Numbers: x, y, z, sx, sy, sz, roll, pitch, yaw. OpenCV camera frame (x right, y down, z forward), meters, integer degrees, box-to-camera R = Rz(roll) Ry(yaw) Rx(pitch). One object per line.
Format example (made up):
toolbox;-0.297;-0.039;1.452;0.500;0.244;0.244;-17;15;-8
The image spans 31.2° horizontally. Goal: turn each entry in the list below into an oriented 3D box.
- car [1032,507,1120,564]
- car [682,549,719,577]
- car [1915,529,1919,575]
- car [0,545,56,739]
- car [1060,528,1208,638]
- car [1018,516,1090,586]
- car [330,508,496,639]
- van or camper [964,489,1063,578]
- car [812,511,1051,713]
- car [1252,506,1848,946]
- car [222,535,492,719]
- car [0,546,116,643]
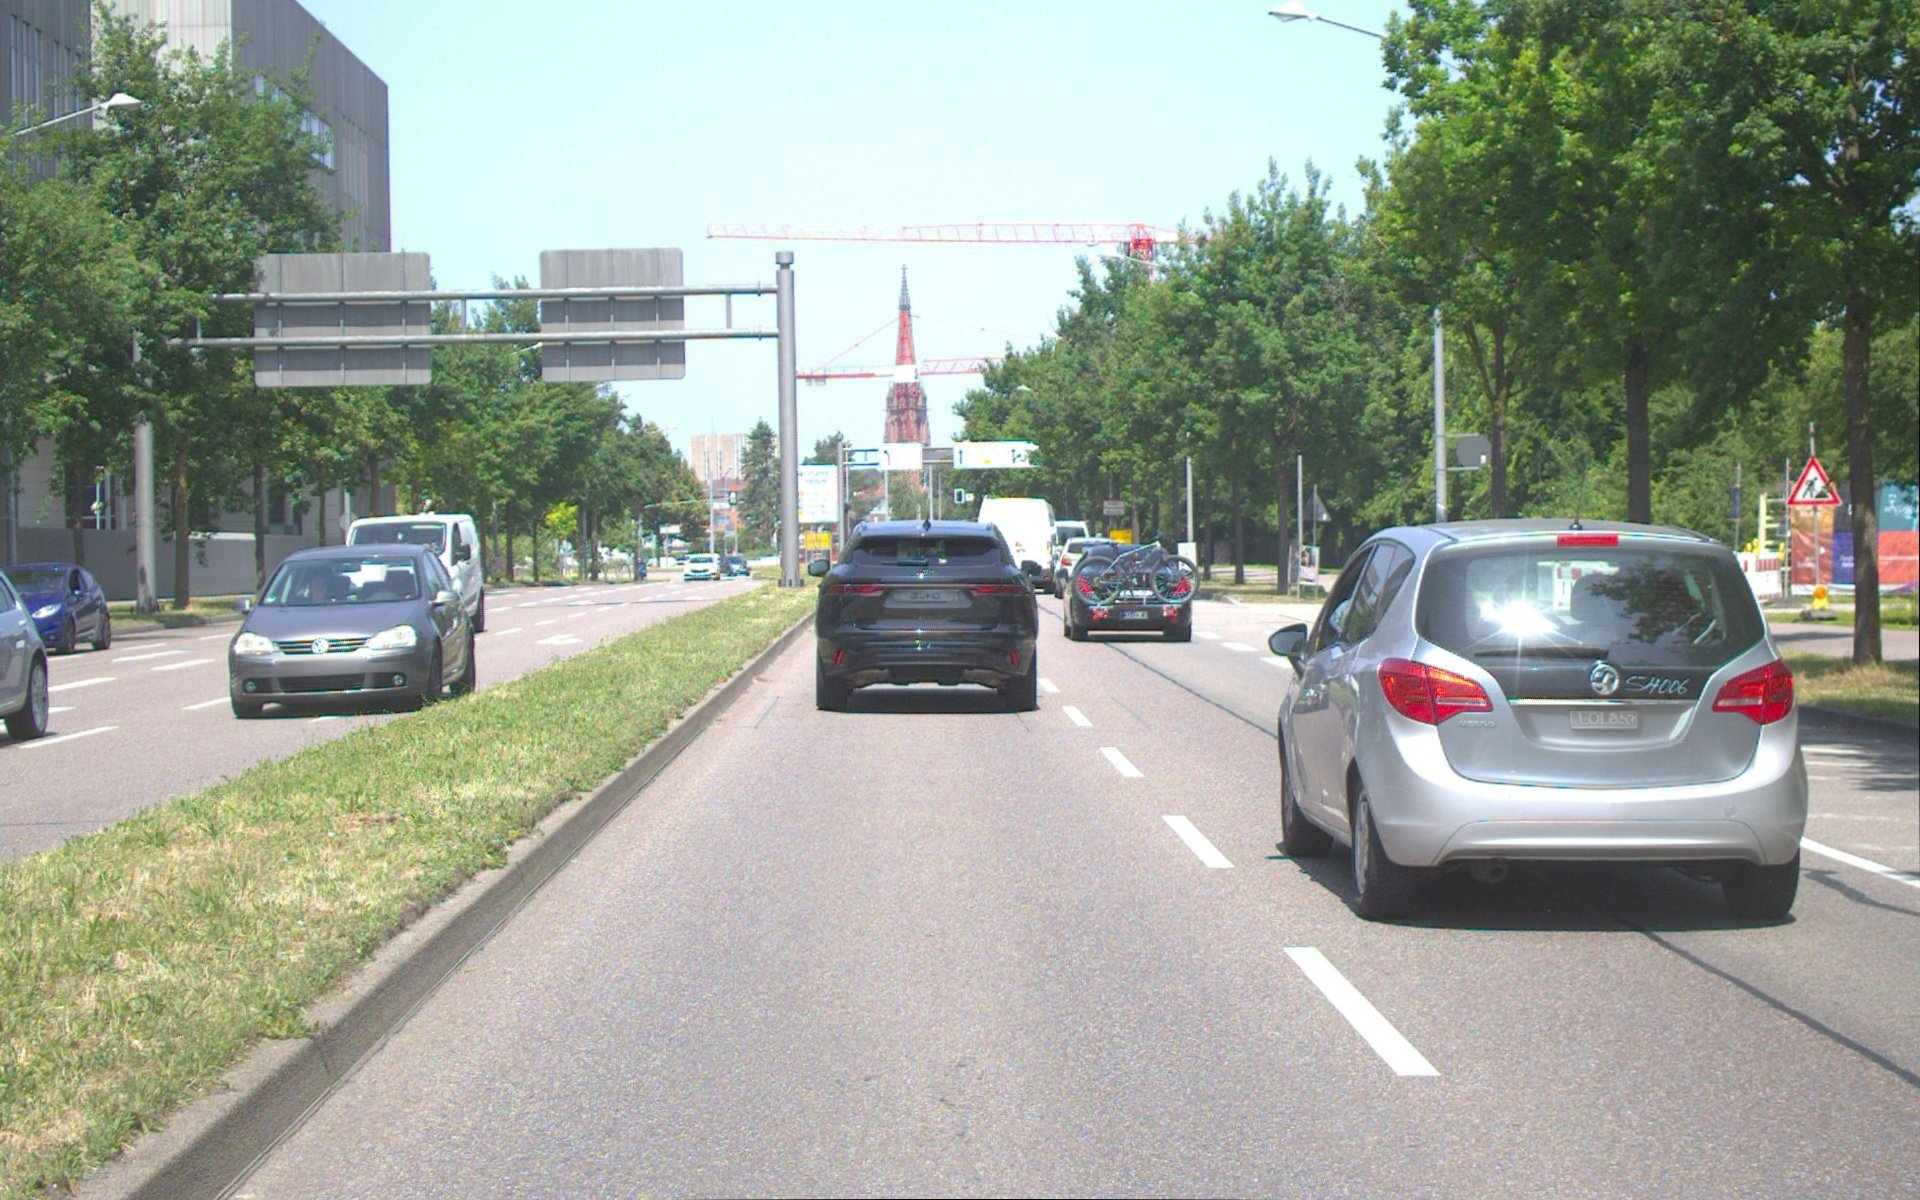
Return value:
car;2.841;-1.576;84.975;1.654;1.351;4.461;-1;1;-5
car;-14.034;-2.037;186.271;1.810;1.422;4.359;-2;1;-3
car;25.395;-1.224;87.848;1.380;1.183;3.302;-1;1;6
car;-8.109;0.355;25.633;1.765;1.455;4.146;-2;1;-3
car;2.518;-0.271;50.643;2.014;1.512;4.460;-1;1;1
car;2.747;-1.461;101.610;1.993;2.007;4.000;-1;1;0
car;-8.908;-0.464;56.390;1.909;1.986;4.898;-2;1;0
van or camper;1.393;-1.756;91.760;2.493;2.283;4.921;-1;1;0
car;-0.219;0.064;30.877;1.998;1.684;4.034;0;1;1
car;2.358;0.428;14.708;1.792;1.606;3.891;-1;1;-1
car;-5.285;0.183;30.586;1.810;1.461;4.058;-2;1;-3
car;-14.698;-0.103;54.855;1.620;1.451;4.018;-1;1;-3
